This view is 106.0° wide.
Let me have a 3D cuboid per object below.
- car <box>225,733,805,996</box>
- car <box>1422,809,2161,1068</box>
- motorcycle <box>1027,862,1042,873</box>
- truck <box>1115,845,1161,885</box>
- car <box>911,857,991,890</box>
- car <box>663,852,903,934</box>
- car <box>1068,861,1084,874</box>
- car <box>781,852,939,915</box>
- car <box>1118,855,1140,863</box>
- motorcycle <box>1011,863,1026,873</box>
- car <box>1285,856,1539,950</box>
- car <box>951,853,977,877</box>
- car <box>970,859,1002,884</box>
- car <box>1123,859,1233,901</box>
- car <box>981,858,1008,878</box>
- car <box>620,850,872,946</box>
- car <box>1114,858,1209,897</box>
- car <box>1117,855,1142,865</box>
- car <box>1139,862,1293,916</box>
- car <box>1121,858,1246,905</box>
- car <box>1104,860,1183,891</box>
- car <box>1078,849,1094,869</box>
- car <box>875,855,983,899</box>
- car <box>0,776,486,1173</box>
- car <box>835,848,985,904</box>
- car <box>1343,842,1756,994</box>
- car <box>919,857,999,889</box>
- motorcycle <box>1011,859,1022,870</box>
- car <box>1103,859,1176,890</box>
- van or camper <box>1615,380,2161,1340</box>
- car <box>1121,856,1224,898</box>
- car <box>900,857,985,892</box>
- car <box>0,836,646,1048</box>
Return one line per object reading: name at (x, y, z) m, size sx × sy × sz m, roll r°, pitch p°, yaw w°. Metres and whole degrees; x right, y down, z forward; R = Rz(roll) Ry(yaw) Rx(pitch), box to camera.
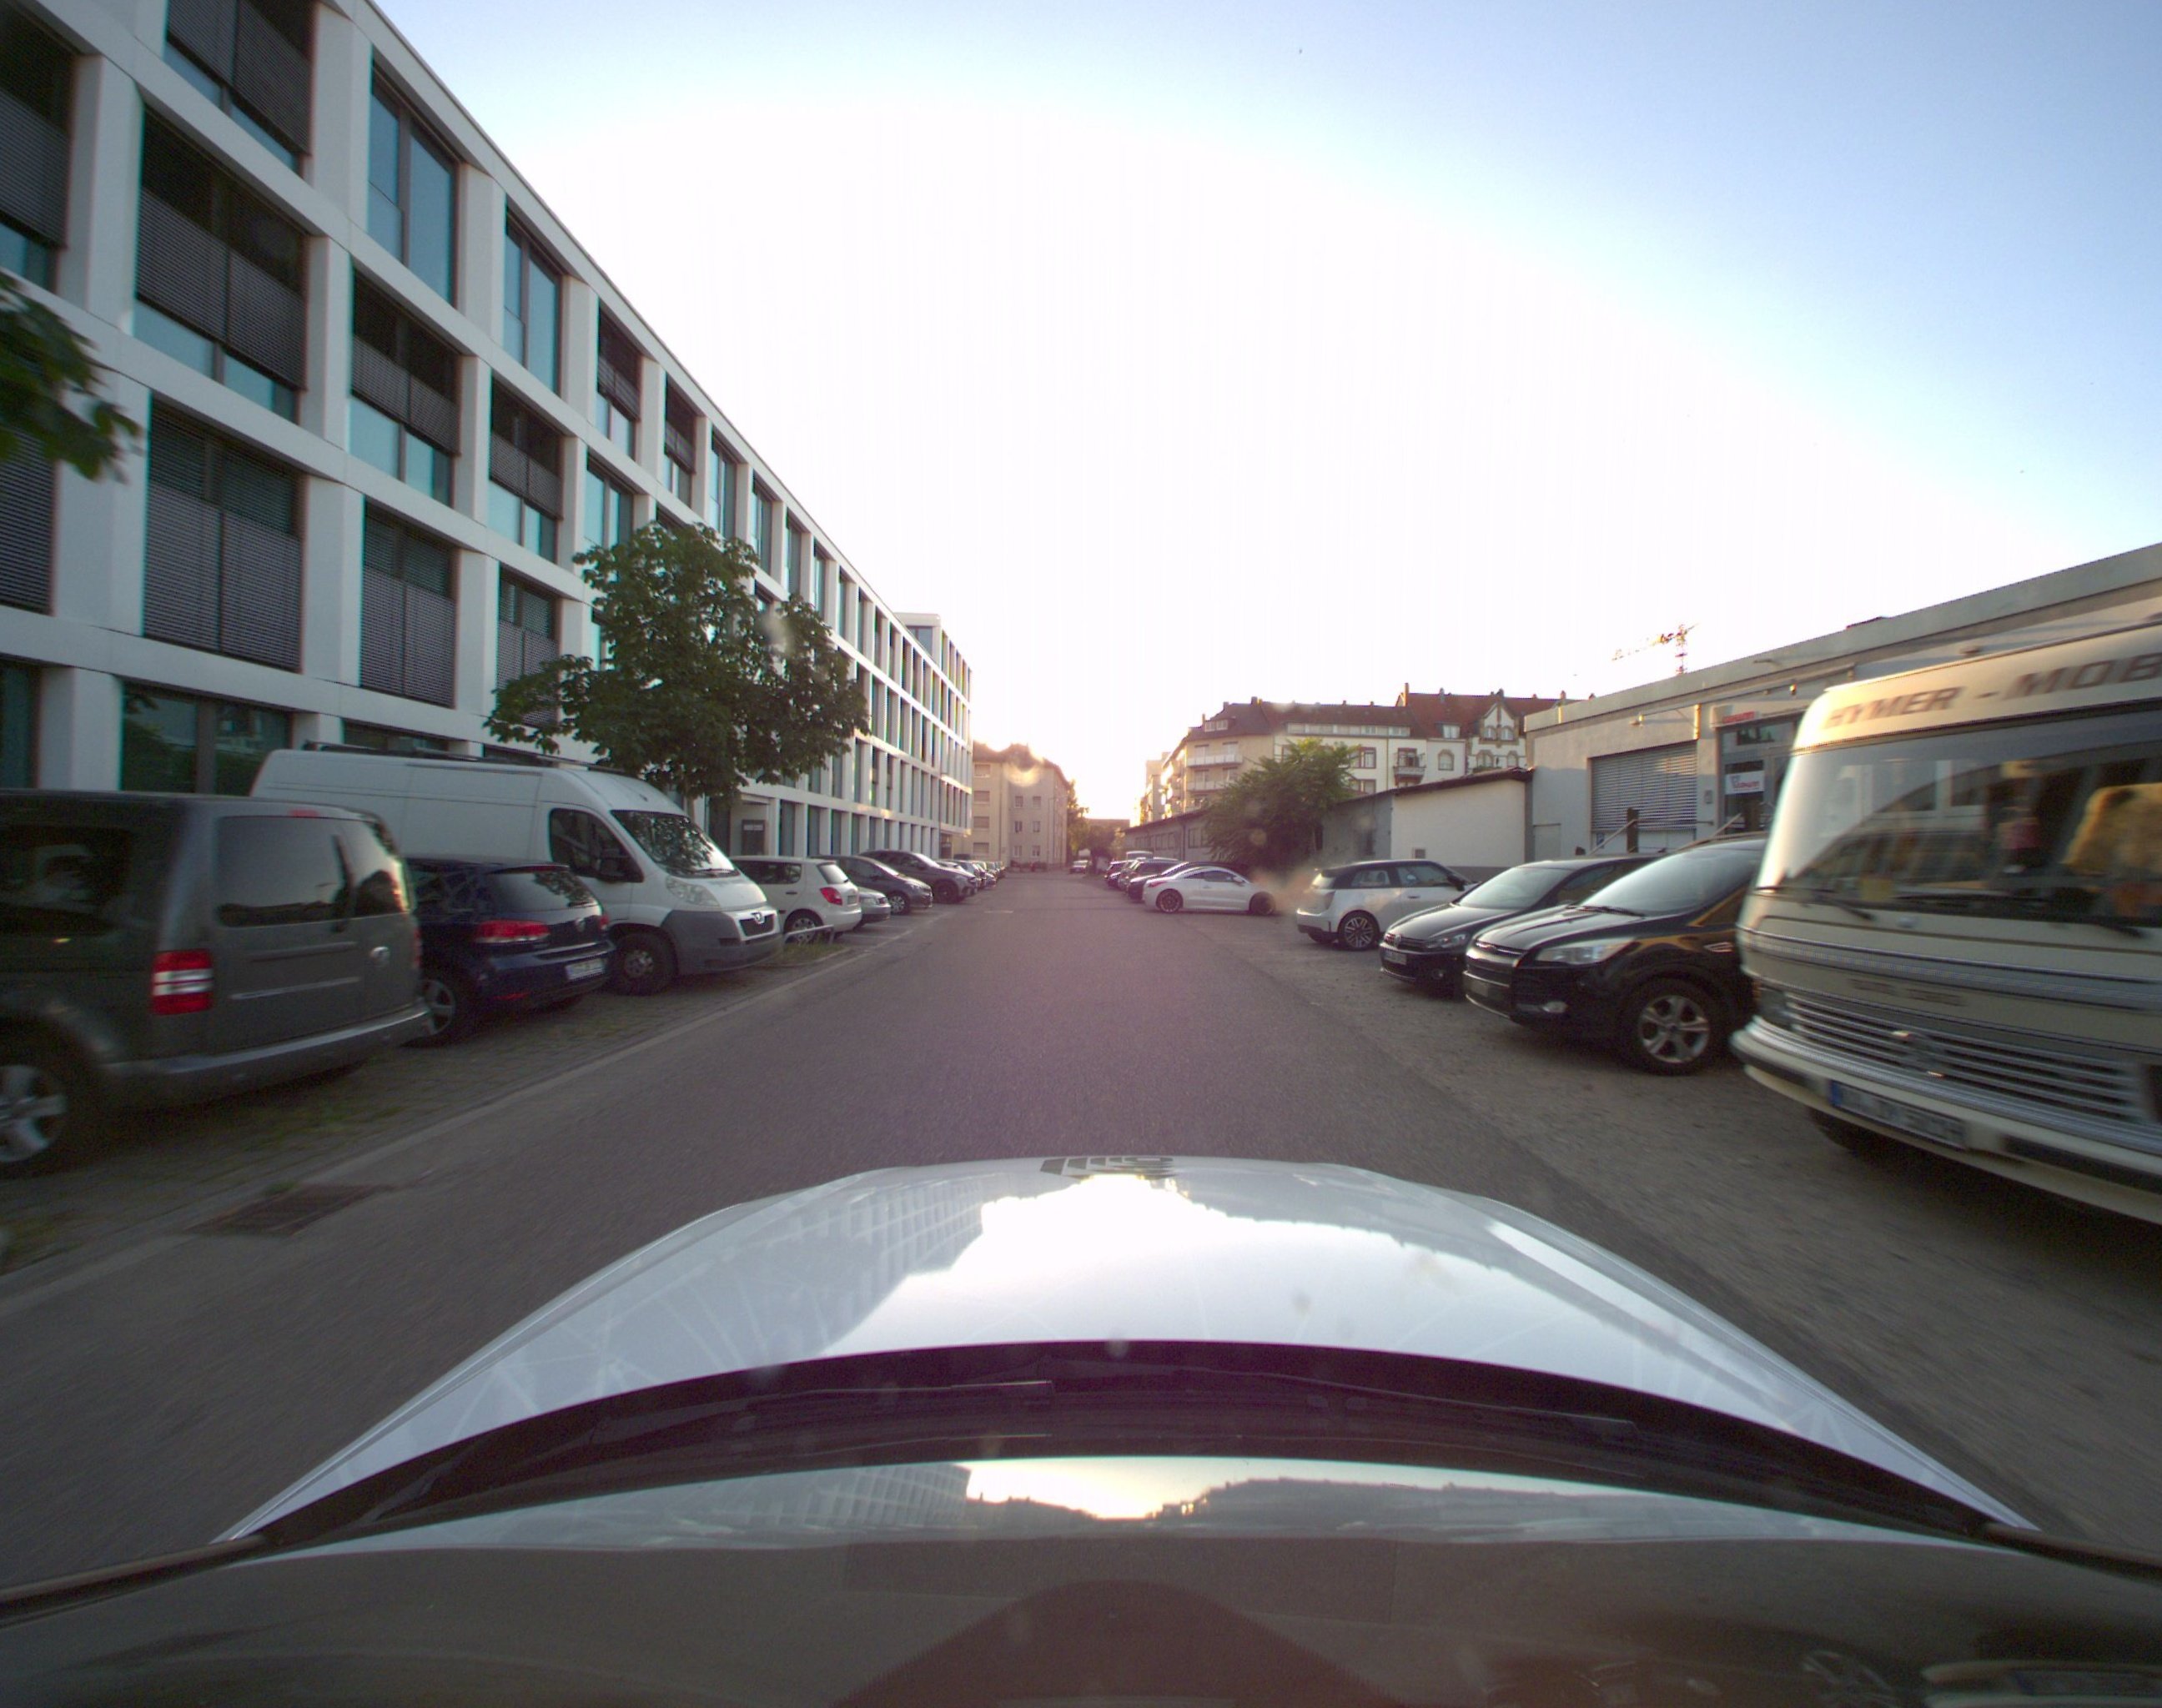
car at (-6.372, 0.102, 9.695) m, size 5.362 × 2.633 × 2.078 m, roll 2°, pitch 0°, yaw 1°
car at (5.266, 0.594, 6.561) m, size 4.224 × 1.741 × 1.968 m, roll -1°, pitch -1°, yaw 2°
motorcycle at (-5.288, 1.550, 92.738) m, size 0.682 × 1.160 × 2.046 m, roll 1°, pitch -1°, yaw 26°
truck at (3.283, 0.653, 47.961) m, size 2.092 × 2.200 × 5.706 m, roll 1°, pitch 0°, yaw -2°
car at (-6.444, 0.949, 40.587) m, size 3.642 × 1.511 × 1.687 m, roll 2°, pitch 0°, yaw 0°
car at (-6.117, 0.762, 17.076) m, size 4.292 × 1.495 × 1.795 m, roll 2°, pitch 0°, yaw 1°
car at (-0.581, 1.531, 94.906) m, size 1.839 × 1.473 × 4.077 m, roll 1°, pitch 0°, yaw 0°
car at (-5.887, 0.776, 22.011) m, size 3.771 × 1.522 × 1.692 m, roll 2°, pitch 0°, yaw -2°
car at (8.792, 0.932, 150.286) m, size 3.973 × 1.530 × 1.659 m, roll -1°, pitch 0°, yaw 0°
motorcycle at (-6.933, 1.511, 90.230) m, size 0.717 × 1.079 × 2.092 m, roll 1°, pitch -1°, yaw 22°
car at (5.589, 0.789, 14.025) m, size 3.697 × 1.479 × 1.710 m, roll 0°, pitch 0°, yaw -4°
car at (-10.524, 0.969, 73.308) m, size 1.793 × 1.979 × 4.685 m, roll 1°, pitch 0°, yaw -2°
car at (-6.181, 1.142, 53.238) m, size 1.644 × 1.439 × 4.180 m, roll 4°, pitch 0°, yaw -3°
car at (3.659, 0.998, 31.185) m, size 3.973 × 1.445 × 1.826 m, roll 2°, pitch -1°, yaw -2°
car at (-7.189, 1.144, 68.180) m, size 1.775 × 1.479 × 4.328 m, roll 4°, pitch 0°, yaw -2°
car at (-5.800, 0.730, 14.443) m, size 3.696 × 1.495 × 1.707 m, roll 2°, pitch 0°, yaw -1°
car at (3.552, 1.024, 36.533) m, size 3.975 × 1.609 × 1.937 m, roll 2°, pitch 0°, yaw -3°
car at (9.333, 1.170, 157.822) m, size 4.796 × 1.968 × 1.739 m, roll -1°, pitch 0°, yaw 0°
car at (3.826, 0.975, 23.620) m, size 4.187 × 1.367 × 1.824 m, roll 2°, pitch 0°, yaw 1°
car at (3.566, 0.970, 28.879) m, size 4.189 × 1.503 × 1.889 m, roll 2°, pitch -1°, yaw -1°
car at (3.143, 1.097, 41.353) m, size 3.751 × 1.444 × 1.843 m, roll 2°, pitch -1°, yaw -3°
car at (0.903, 0.846, 140.224) m, size 2.610 × 3.269 × 7.700 m, roll -1°, pitch -1°, yaw 2°
car at (-5.697, 0.833, 30.749) m, size 3.651 × 1.511 × 1.698 m, roll 2°, pitch 0°, yaw 3°
car at (-6.117, 0.513, 4.539) m, size 4.100 × 1.817 × 1.813 m, roll 2°, pitch 0°, yaw -5°
car at (-5.827, 0.723, 28.131) m, size 4.599 × 1.706 × 2.006 m, roll 2°, pitch 0°, yaw 3°
car at (5.363, 0.667, 9.604) m, size 3.999 × 1.564 × 1.708 m, roll 0°, pitch 0°, yaw -6°
car at (-6.436, 0.999, 43.155) m, size 3.912 × 1.511 × 1.688 m, roll 2°, pitch 0°, yaw 1°
motorcycle at (-7.345, 1.161, 92.516) m, size 0.718 × 1.264 × 2.088 m, roll 1°, pitch 0°, yaw 12°
car at (3.111, 1.089, 43.791) m, size 3.748 × 1.535 × 1.891 m, roll 1°, pitch 0°, yaw -1°
van or camper at (6.055, 0.010, 3.663) m, size 5.767 × 2.864 × 2.484 m, roll 0°, pitch -1°, yaw -4°
car at (3.773, 0.952, 34.008) m, size 3.978 × 1.619 × 1.824 m, roll 2°, pitch 0°, yaw -6°
car at (-6.483, 0.945, 38.283) m, size 3.642 × 1.511 × 1.687 m, roll 2°, pitch 0°, yaw 0°
car at (-6.284, 0.669, 6.957) m, size 4.100 × 1.499 × 1.772 m, roll 2°, pitch 0°, yaw -5°
